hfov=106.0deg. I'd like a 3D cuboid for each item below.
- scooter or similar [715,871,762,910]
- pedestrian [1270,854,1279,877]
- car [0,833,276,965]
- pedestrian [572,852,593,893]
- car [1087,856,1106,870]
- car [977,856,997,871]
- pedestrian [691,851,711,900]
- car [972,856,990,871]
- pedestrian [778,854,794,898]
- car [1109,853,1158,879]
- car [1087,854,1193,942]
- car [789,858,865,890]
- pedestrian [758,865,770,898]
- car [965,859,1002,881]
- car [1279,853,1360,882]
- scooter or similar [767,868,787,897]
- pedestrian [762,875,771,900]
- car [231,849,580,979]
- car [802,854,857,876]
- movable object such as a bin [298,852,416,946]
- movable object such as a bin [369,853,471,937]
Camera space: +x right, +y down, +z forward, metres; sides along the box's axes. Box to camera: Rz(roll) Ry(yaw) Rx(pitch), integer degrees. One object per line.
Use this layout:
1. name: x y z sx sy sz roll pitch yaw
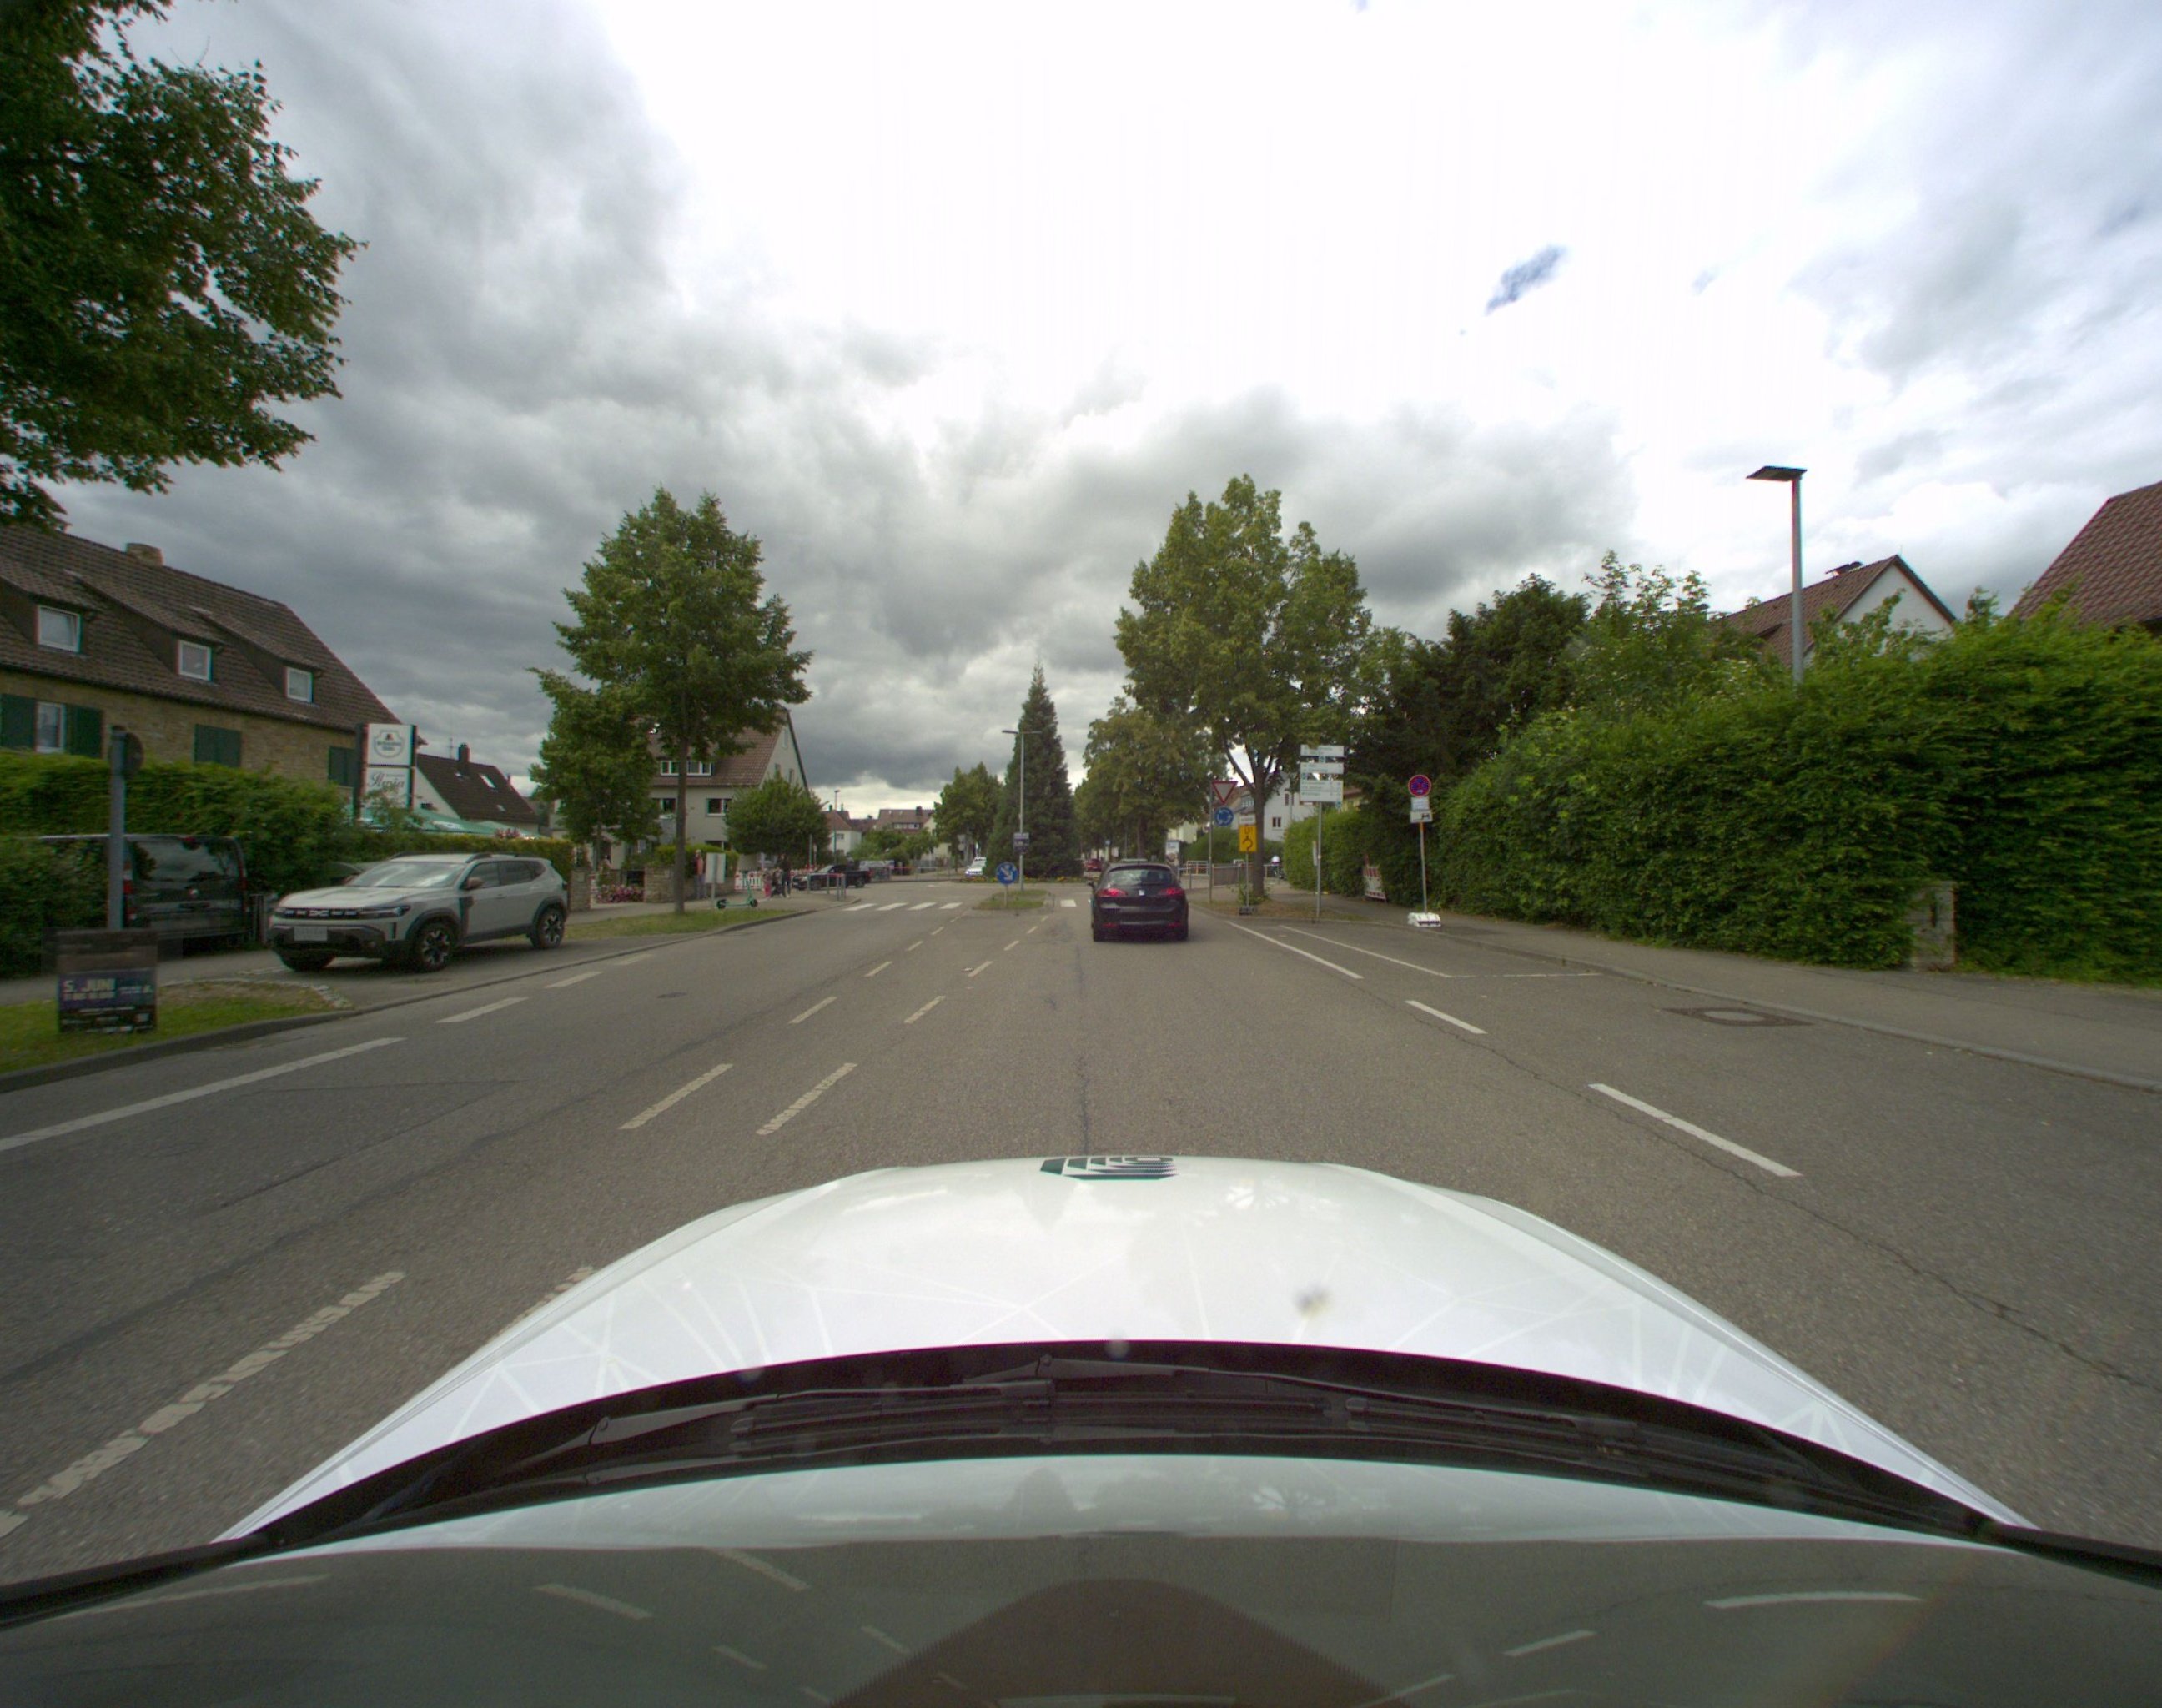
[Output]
1. scooter or similar: -10.517 1.097 25.005 1.292 1.139 0.344 -1 -1 -32
2. pedestrian: 13.013 0.754 54.822 0.486 1.534 0.487 -1 -1 22
3. car: -15.586 0.662 12.716 3.974 1.891 1.999 0 0 -1
4. pedestrian: -19.213 0.712 31.383 0.653 1.539 0.504 0 -1 -34
5. car: 1.722 0.973 91.672 1.475 1.489 3.370 0 0 -10
6. car: -10.304 1.078 89.752 1.792 1.601 3.998 -1 0 -1
7. pedestrian: -13.990 0.775 29.969 0.565 1.784 0.534 0 -1 -40
8. car: -13.192 1.222 108.083 2.025 1.970 3.996 -1 0 -3
9. pedestrian: -11.383 0.843 31.415 0.485 1.669 0.510 0 -1 -34
10. car: 3.380 0.759 53.116 1.997 1.613 3.979 0 0 -16
11. car: 1.025 0.775 15.998 1.727 1.486 3.998 -1 0 -1
12. car: -13.786 1.056 44.253 1.554 1.634 3.643 -1 -1 44
13. pedestrian: -12.252 1.068 31.472 0.344 1.245 0.350 0 -1 -34
14. car: -7.276 1.148 61.270 1.860 1.560 4.266 -1 0 6
15. car: 14.102 0.798 48.282 4.383 1.661 1.650 0 -1 0
16. scooter or similar: -11.924 1.113 31.935 0.409 1.095 0.959 3 -1 -39
17. pedestrian: -11.561 1.240 29.964 0.240 0.894 0.257 2 -1 -33
18. car: -9.930 0.773 12.540 1.856 1.653 4.291 0 0 -2
19. car: -18.825 0.815 61.032 3.573 1.611 1.601 -1 0 3
20. movable object such as a bin: -13.405 0.817 15.122 1.202 1.651 0.997 2 -1 -3
21. movable object such as a bin: -13.596 0.831 16.798 1.202 1.651 0.997 2 -1 -3
